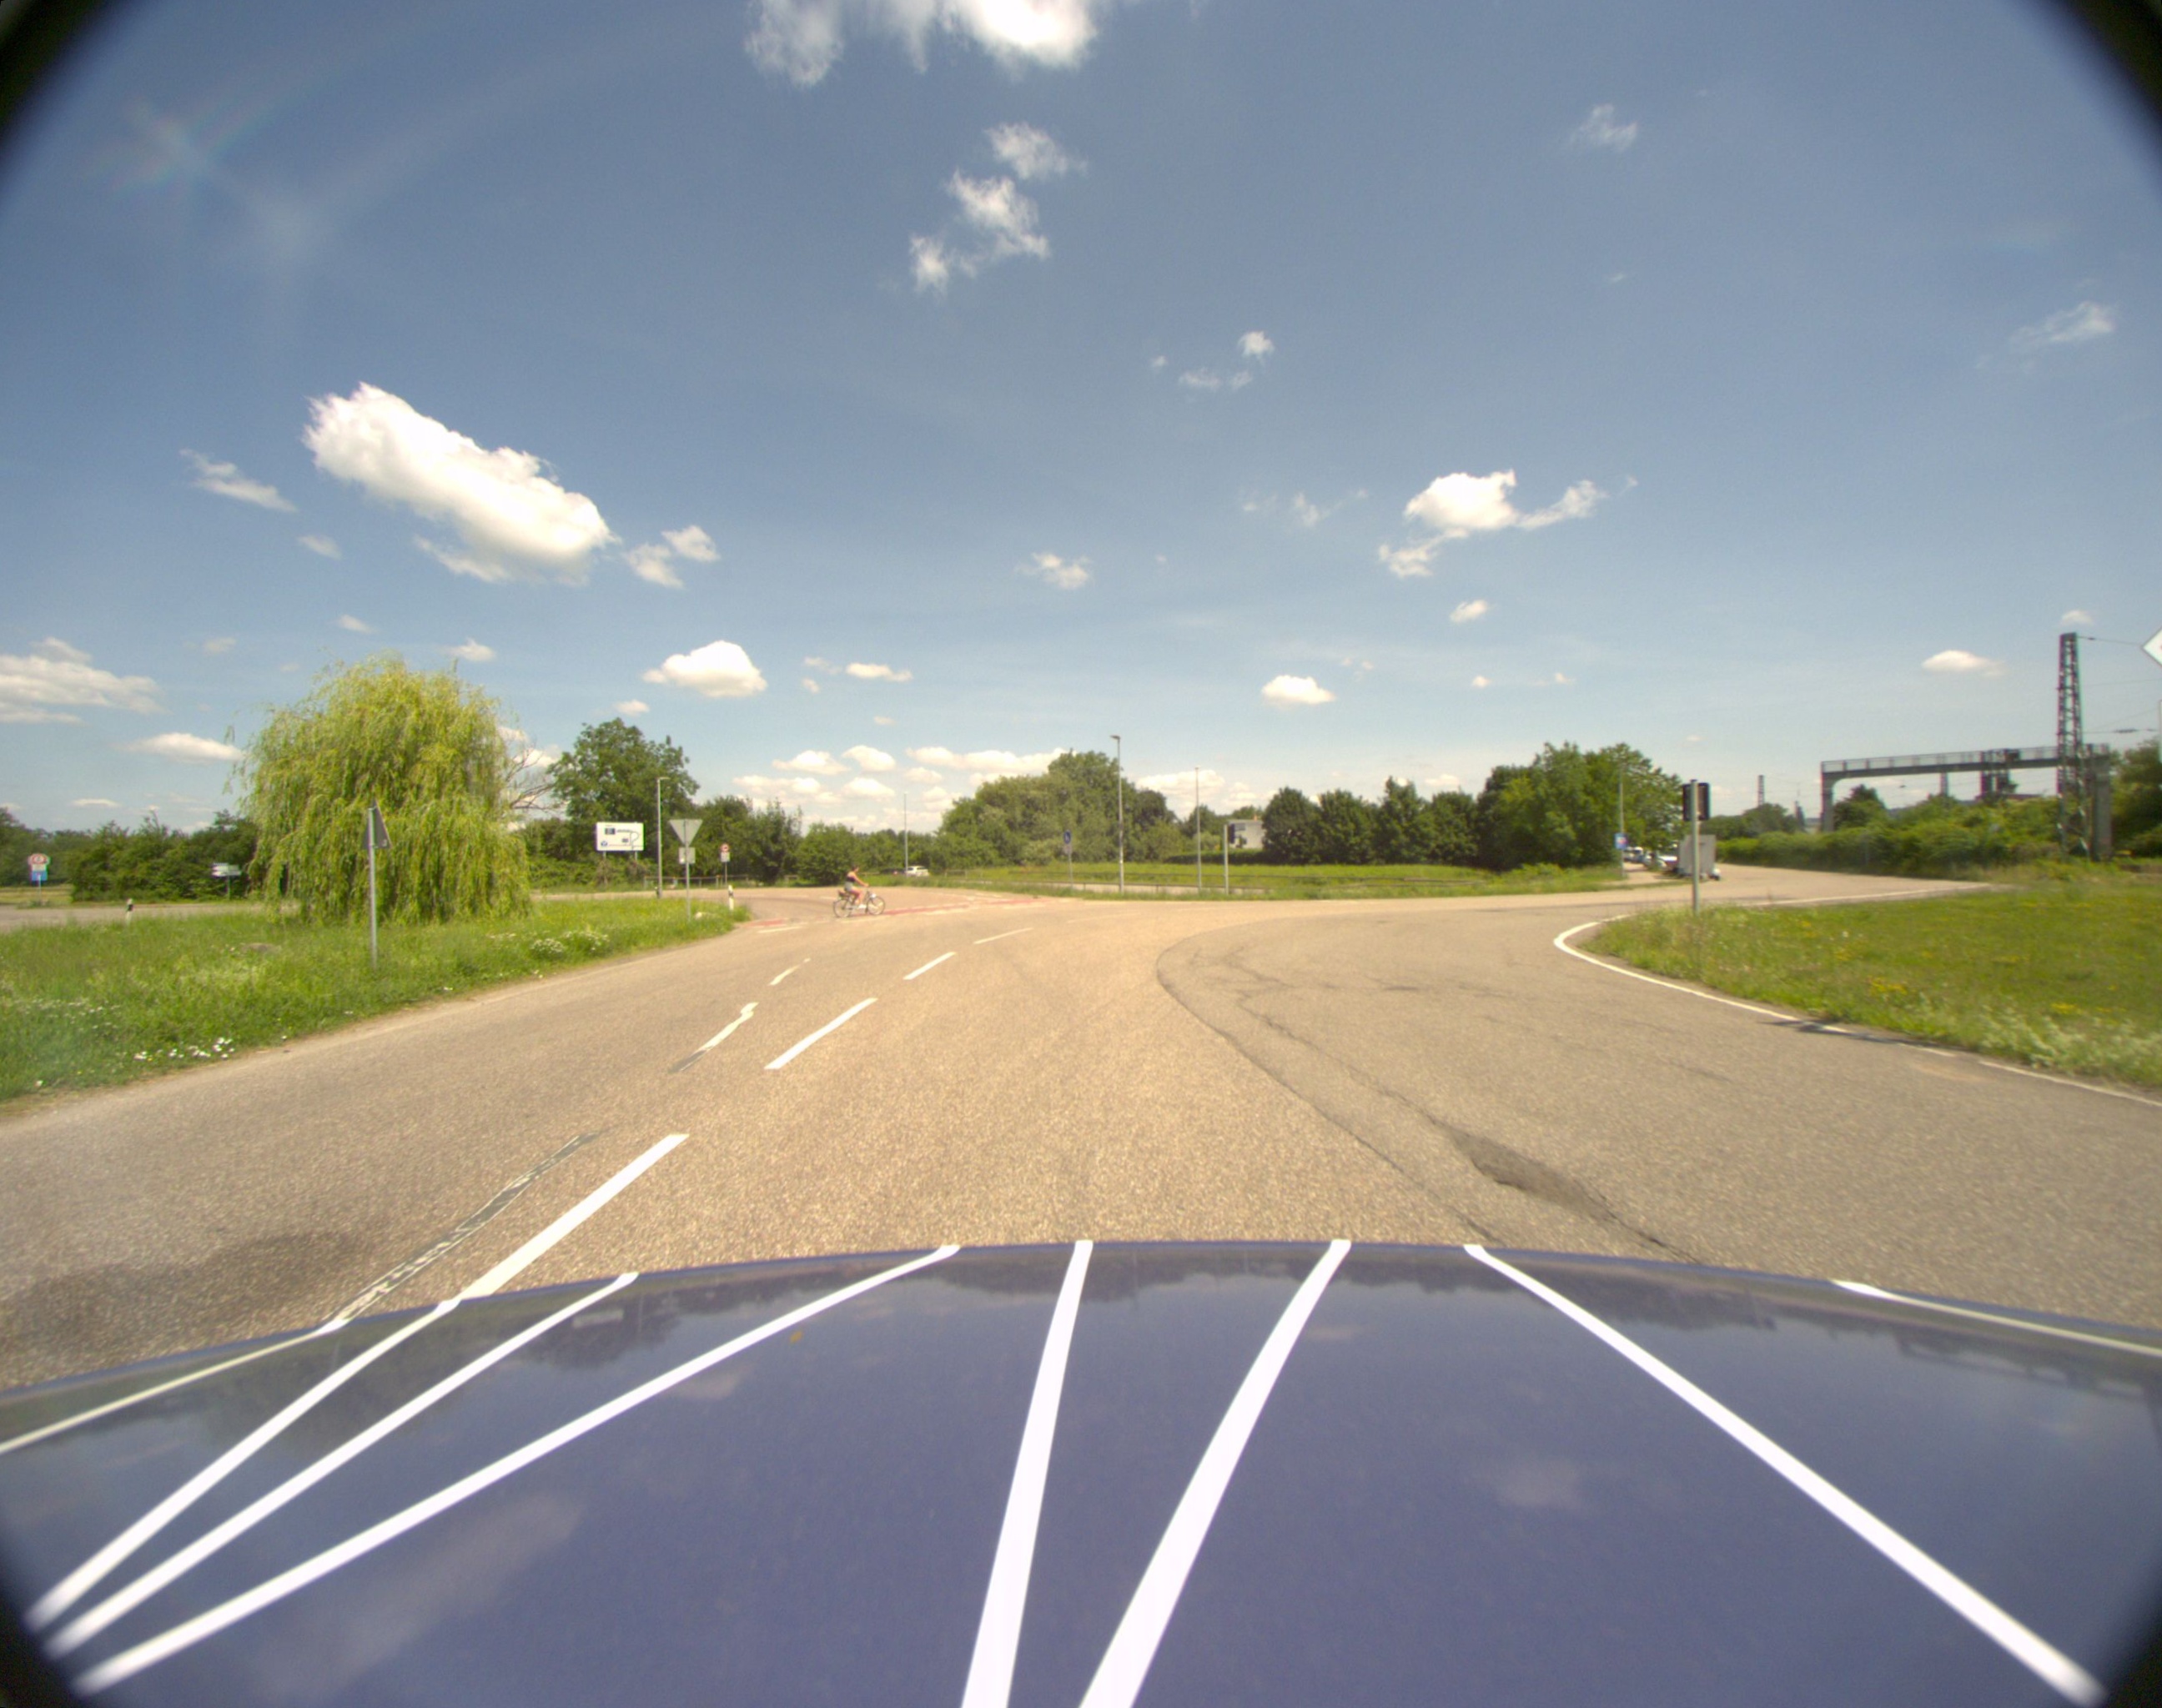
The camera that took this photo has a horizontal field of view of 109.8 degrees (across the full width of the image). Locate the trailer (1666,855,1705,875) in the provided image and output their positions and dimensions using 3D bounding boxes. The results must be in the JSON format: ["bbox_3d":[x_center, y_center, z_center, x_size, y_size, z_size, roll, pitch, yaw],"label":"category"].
[{"bbox_3d":[41.775,0.736,52.586,2.005,1.117,4.498,2,2,37],"label":"trailer"}]

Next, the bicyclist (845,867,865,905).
[{"bbox_3d":[-7.677,1.077,25.813,0.512,1.248,0.468,-3,1,-27],"label":"bicyclist"}]

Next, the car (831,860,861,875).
[{"bbox_3d":[-23.414,1.340,75.582,3.110,1.330,1.421,-3,-1,43],"label":"car"}]

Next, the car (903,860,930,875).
[{"bbox_3d":[-17.654,1.469,81.422,1.421,1.495,3.110,-3,-1,-44],"label":"car"}]

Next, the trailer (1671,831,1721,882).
[{"bbox_3d":[33.932,0.095,41.882,1.933,2.629,5.194,2,2,40],"label":"trailer"}]

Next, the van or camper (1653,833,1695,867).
[{"bbox_3d":[52.594,-0.386,67.548,2.440,2.810,7.638,1,1,34],"label":"van or camper"}]

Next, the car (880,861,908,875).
[{"bbox_3d":[-19.515,1.463,79.085,1.421,1.330,3.110,-2,-1,-43],"label":"car"}]

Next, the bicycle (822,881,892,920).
[{"bbox_3d":[-7.641,1.570,25.924,2.149,1.158,0.660,-3,1,-27],"label":"bicycle"}]

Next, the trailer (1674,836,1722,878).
[{"bbox_3d":[38.394,0.154,47.397,1.919,2.494,4.750,2,2,35],"label":"trailer"}]
